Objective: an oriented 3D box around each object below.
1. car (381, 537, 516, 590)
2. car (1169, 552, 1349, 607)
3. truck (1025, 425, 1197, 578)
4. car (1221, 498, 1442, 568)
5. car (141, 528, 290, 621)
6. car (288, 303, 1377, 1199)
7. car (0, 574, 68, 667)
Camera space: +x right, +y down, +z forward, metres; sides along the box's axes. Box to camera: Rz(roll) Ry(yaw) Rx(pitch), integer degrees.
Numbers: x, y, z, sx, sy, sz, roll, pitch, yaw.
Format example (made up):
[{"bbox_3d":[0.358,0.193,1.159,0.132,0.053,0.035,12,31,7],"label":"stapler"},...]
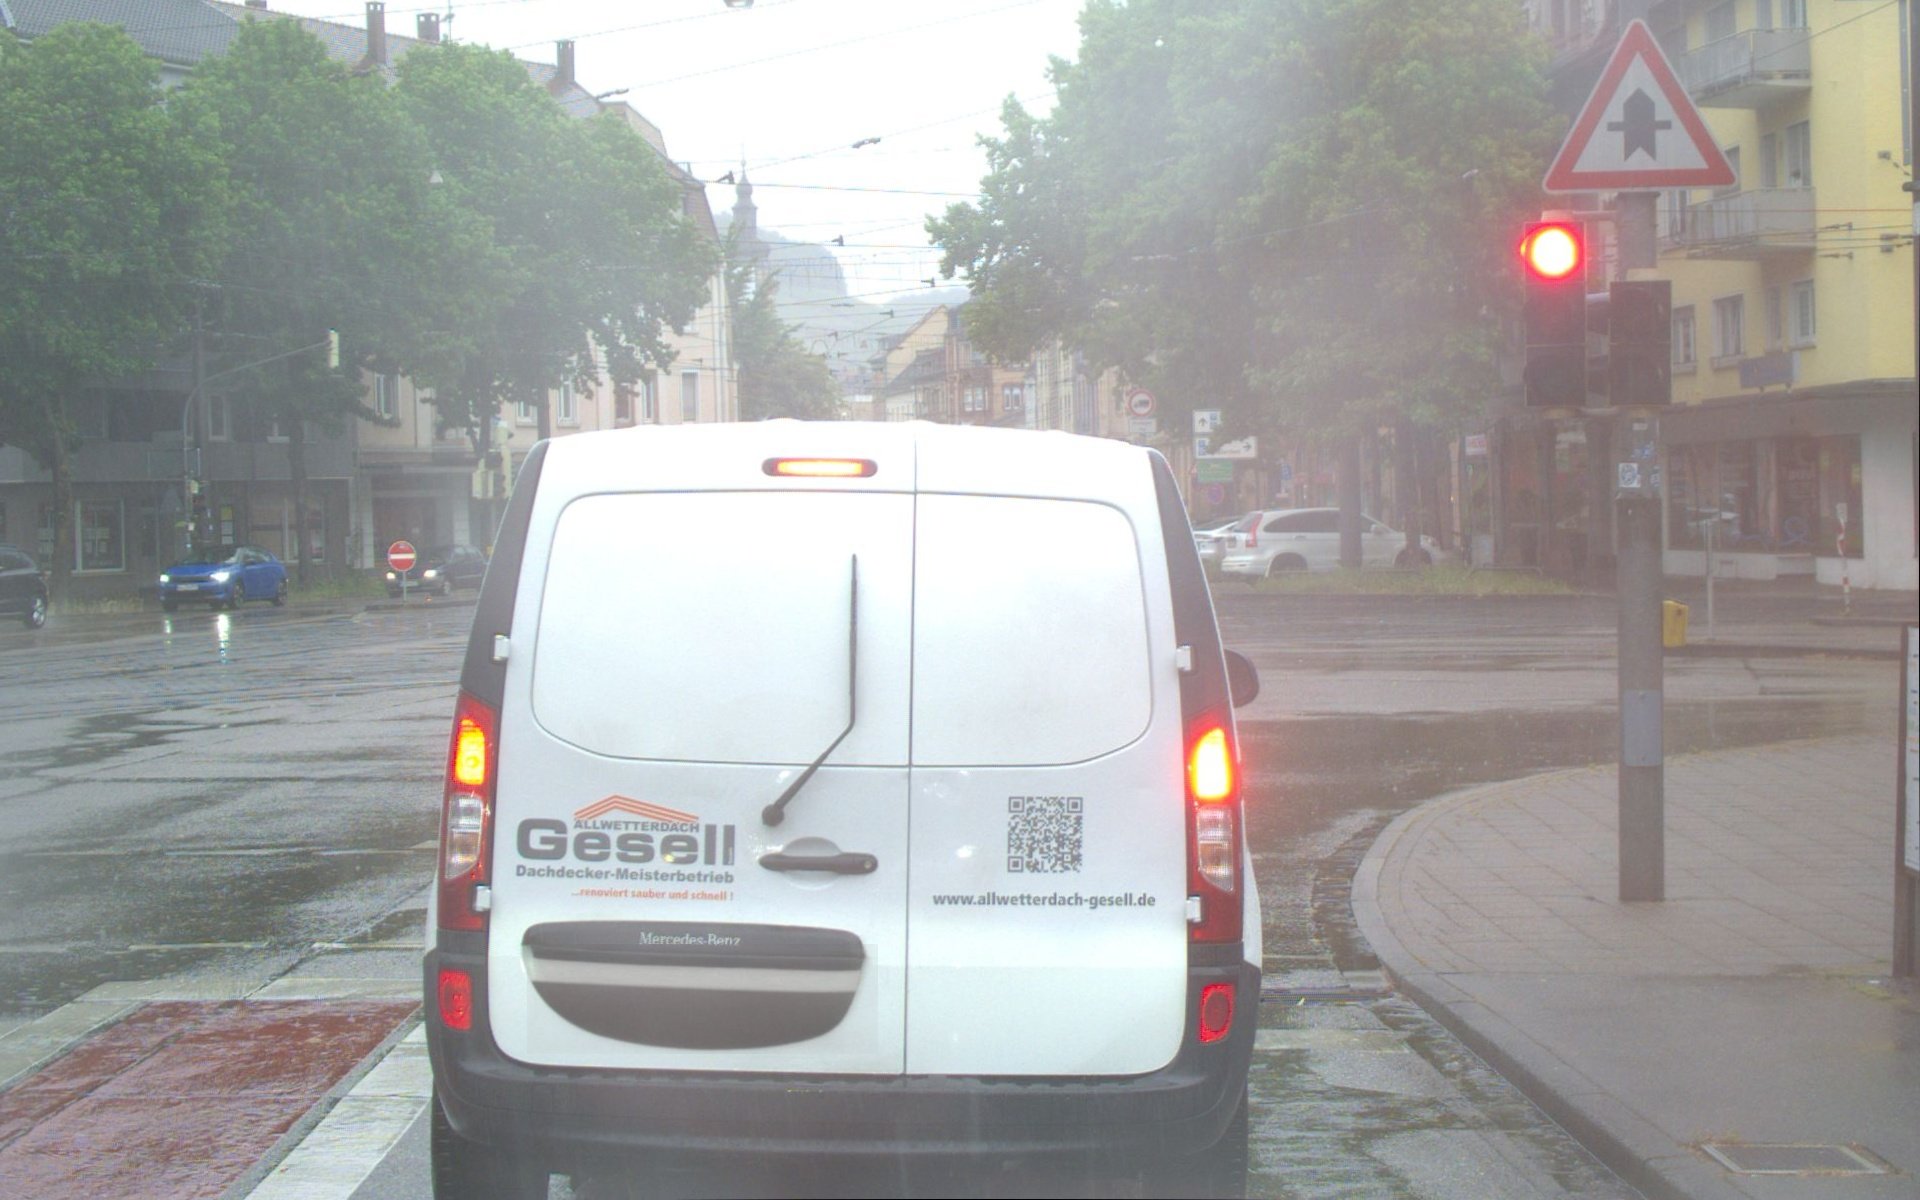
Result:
[{"bbox_3d":[-13.168,-0.963,88.694,1.952,1.235,3.997,0,2,16],"label":"car"},{"bbox_3d":[6.149,-0.425,70.754,3.441,1.126,1.472,0,1,-8],"label":"car"},{"bbox_3d":[5.530,-3.390,121.770,3.471,5.070,15.298,0,1,13],"label":"truck"},{"bbox_3d":[7.428,-1.348,68.932,4.165,1.334,1.521,-1,2,-7],"label":"car"},{"bbox_3d":[-16.438,-0.577,76.123,1.994,2.007,3.999,0,1,8],"label":"car"},{"bbox_3d":[-0.273,0.406,9.152,2.100,2.005,4.963,0,1,-1],"label":"car"},{"bbox_3d":[-18.251,0.394,62.847,1.952,1.602,3.997,0,2,16],"label":"car"}]
